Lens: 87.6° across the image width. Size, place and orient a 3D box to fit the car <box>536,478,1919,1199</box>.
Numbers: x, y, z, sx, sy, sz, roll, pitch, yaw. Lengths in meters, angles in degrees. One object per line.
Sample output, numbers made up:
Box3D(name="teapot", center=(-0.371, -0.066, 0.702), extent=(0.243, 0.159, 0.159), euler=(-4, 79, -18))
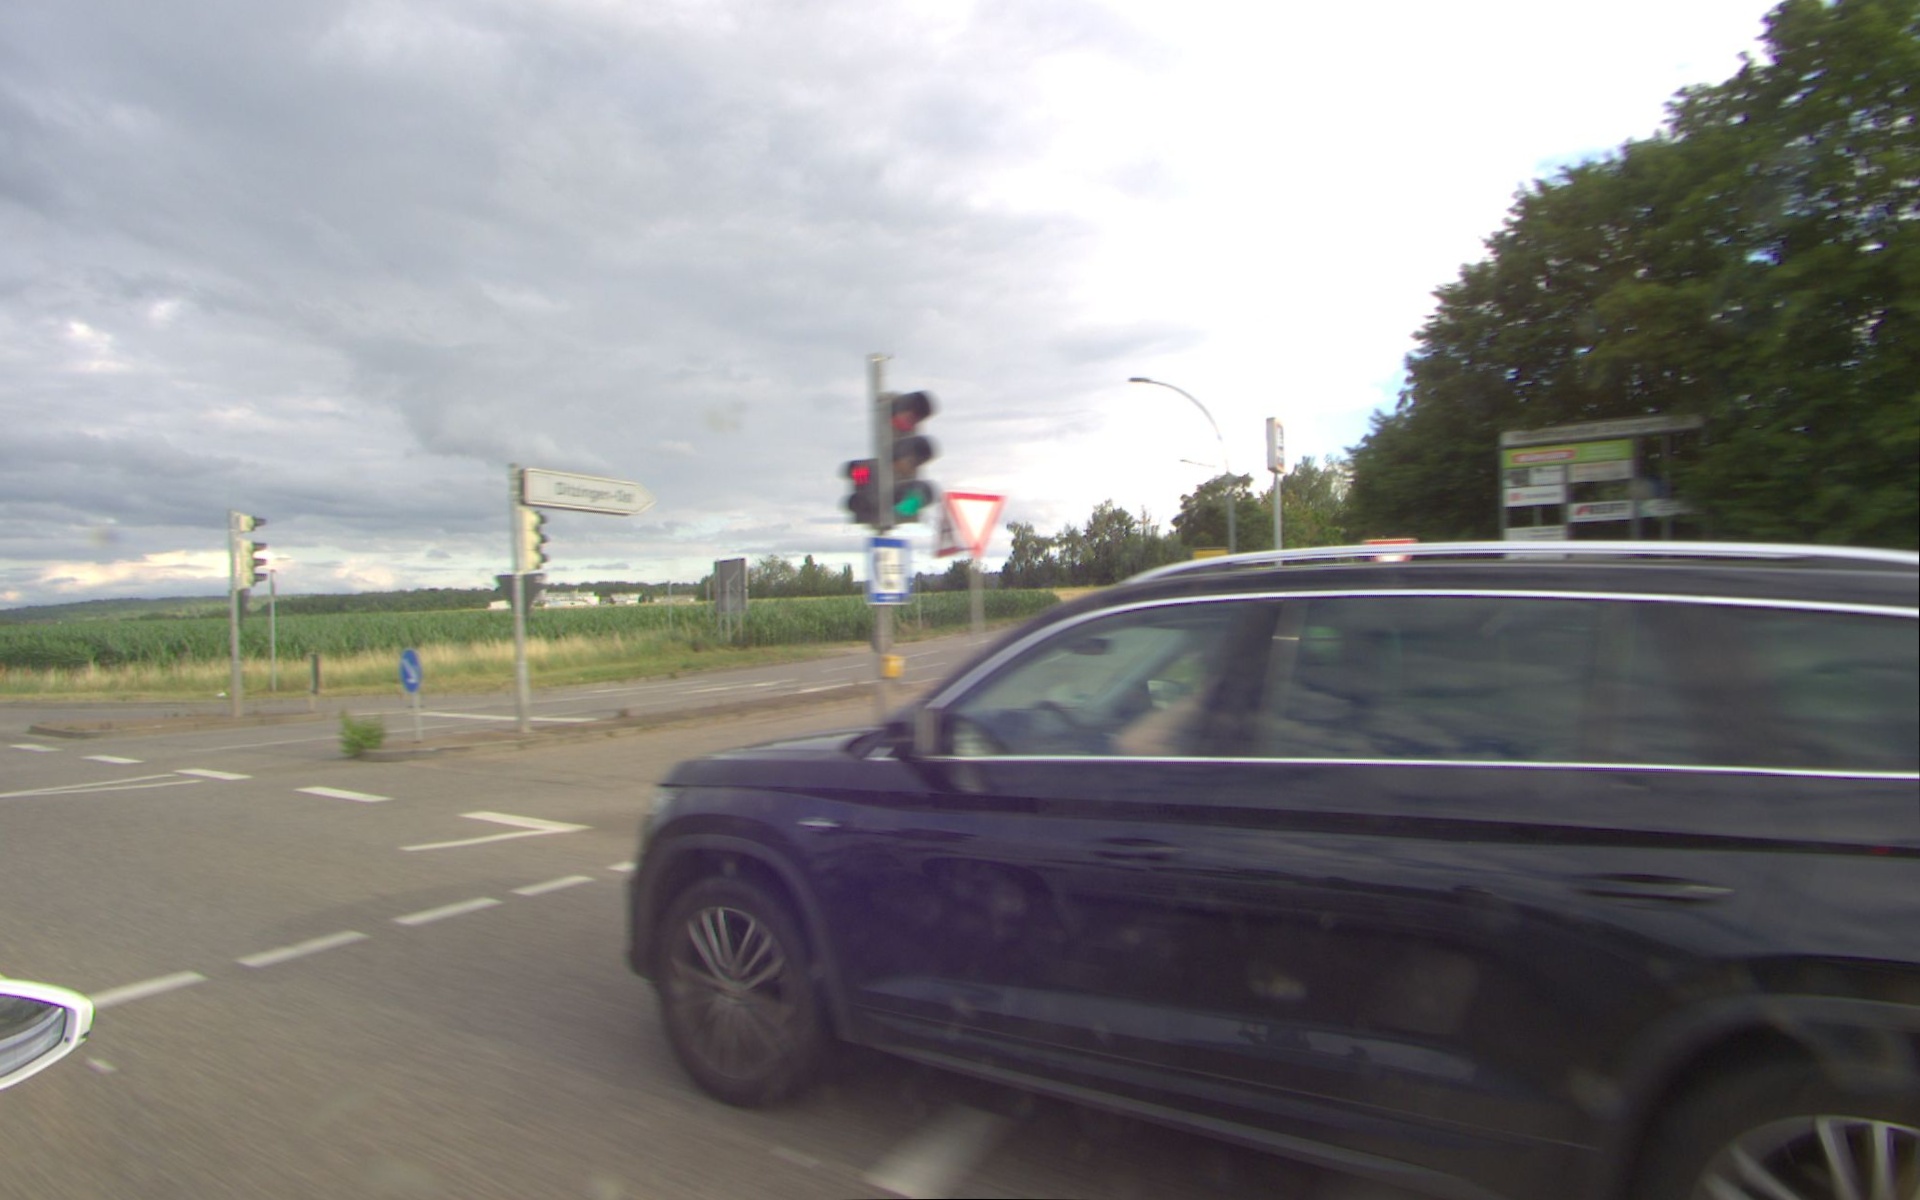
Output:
Box3D(name="car", center=(0.862, 0.706, 3.125), extent=(4.417, 1.670, 1.842), euler=(-1, -3, 32))

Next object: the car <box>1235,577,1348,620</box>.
Box3D(name="car", center=(17.833, -0.064, 53.928), extent=(5.526, 2.040, 1.992), euler=(-2, 0, 26))

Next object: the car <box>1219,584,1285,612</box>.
Box3D(name="car", center=(20.965, -0.125, 71.963), extent=(4.260, 1.802, 1.992), euler=(-2, 0, 26))

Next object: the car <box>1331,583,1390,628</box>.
Box3D(name="car", center=(18.645, 0.224, 46.517), extent=(1.932, 1.909, 4.284), euler=(-1, 1, 30))

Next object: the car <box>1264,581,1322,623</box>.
Box3D(name="car", center=(16.823, 0.069, 50.447), extent=(1.932, 1.909, 4.284), euler=(-1, 1, 30))
